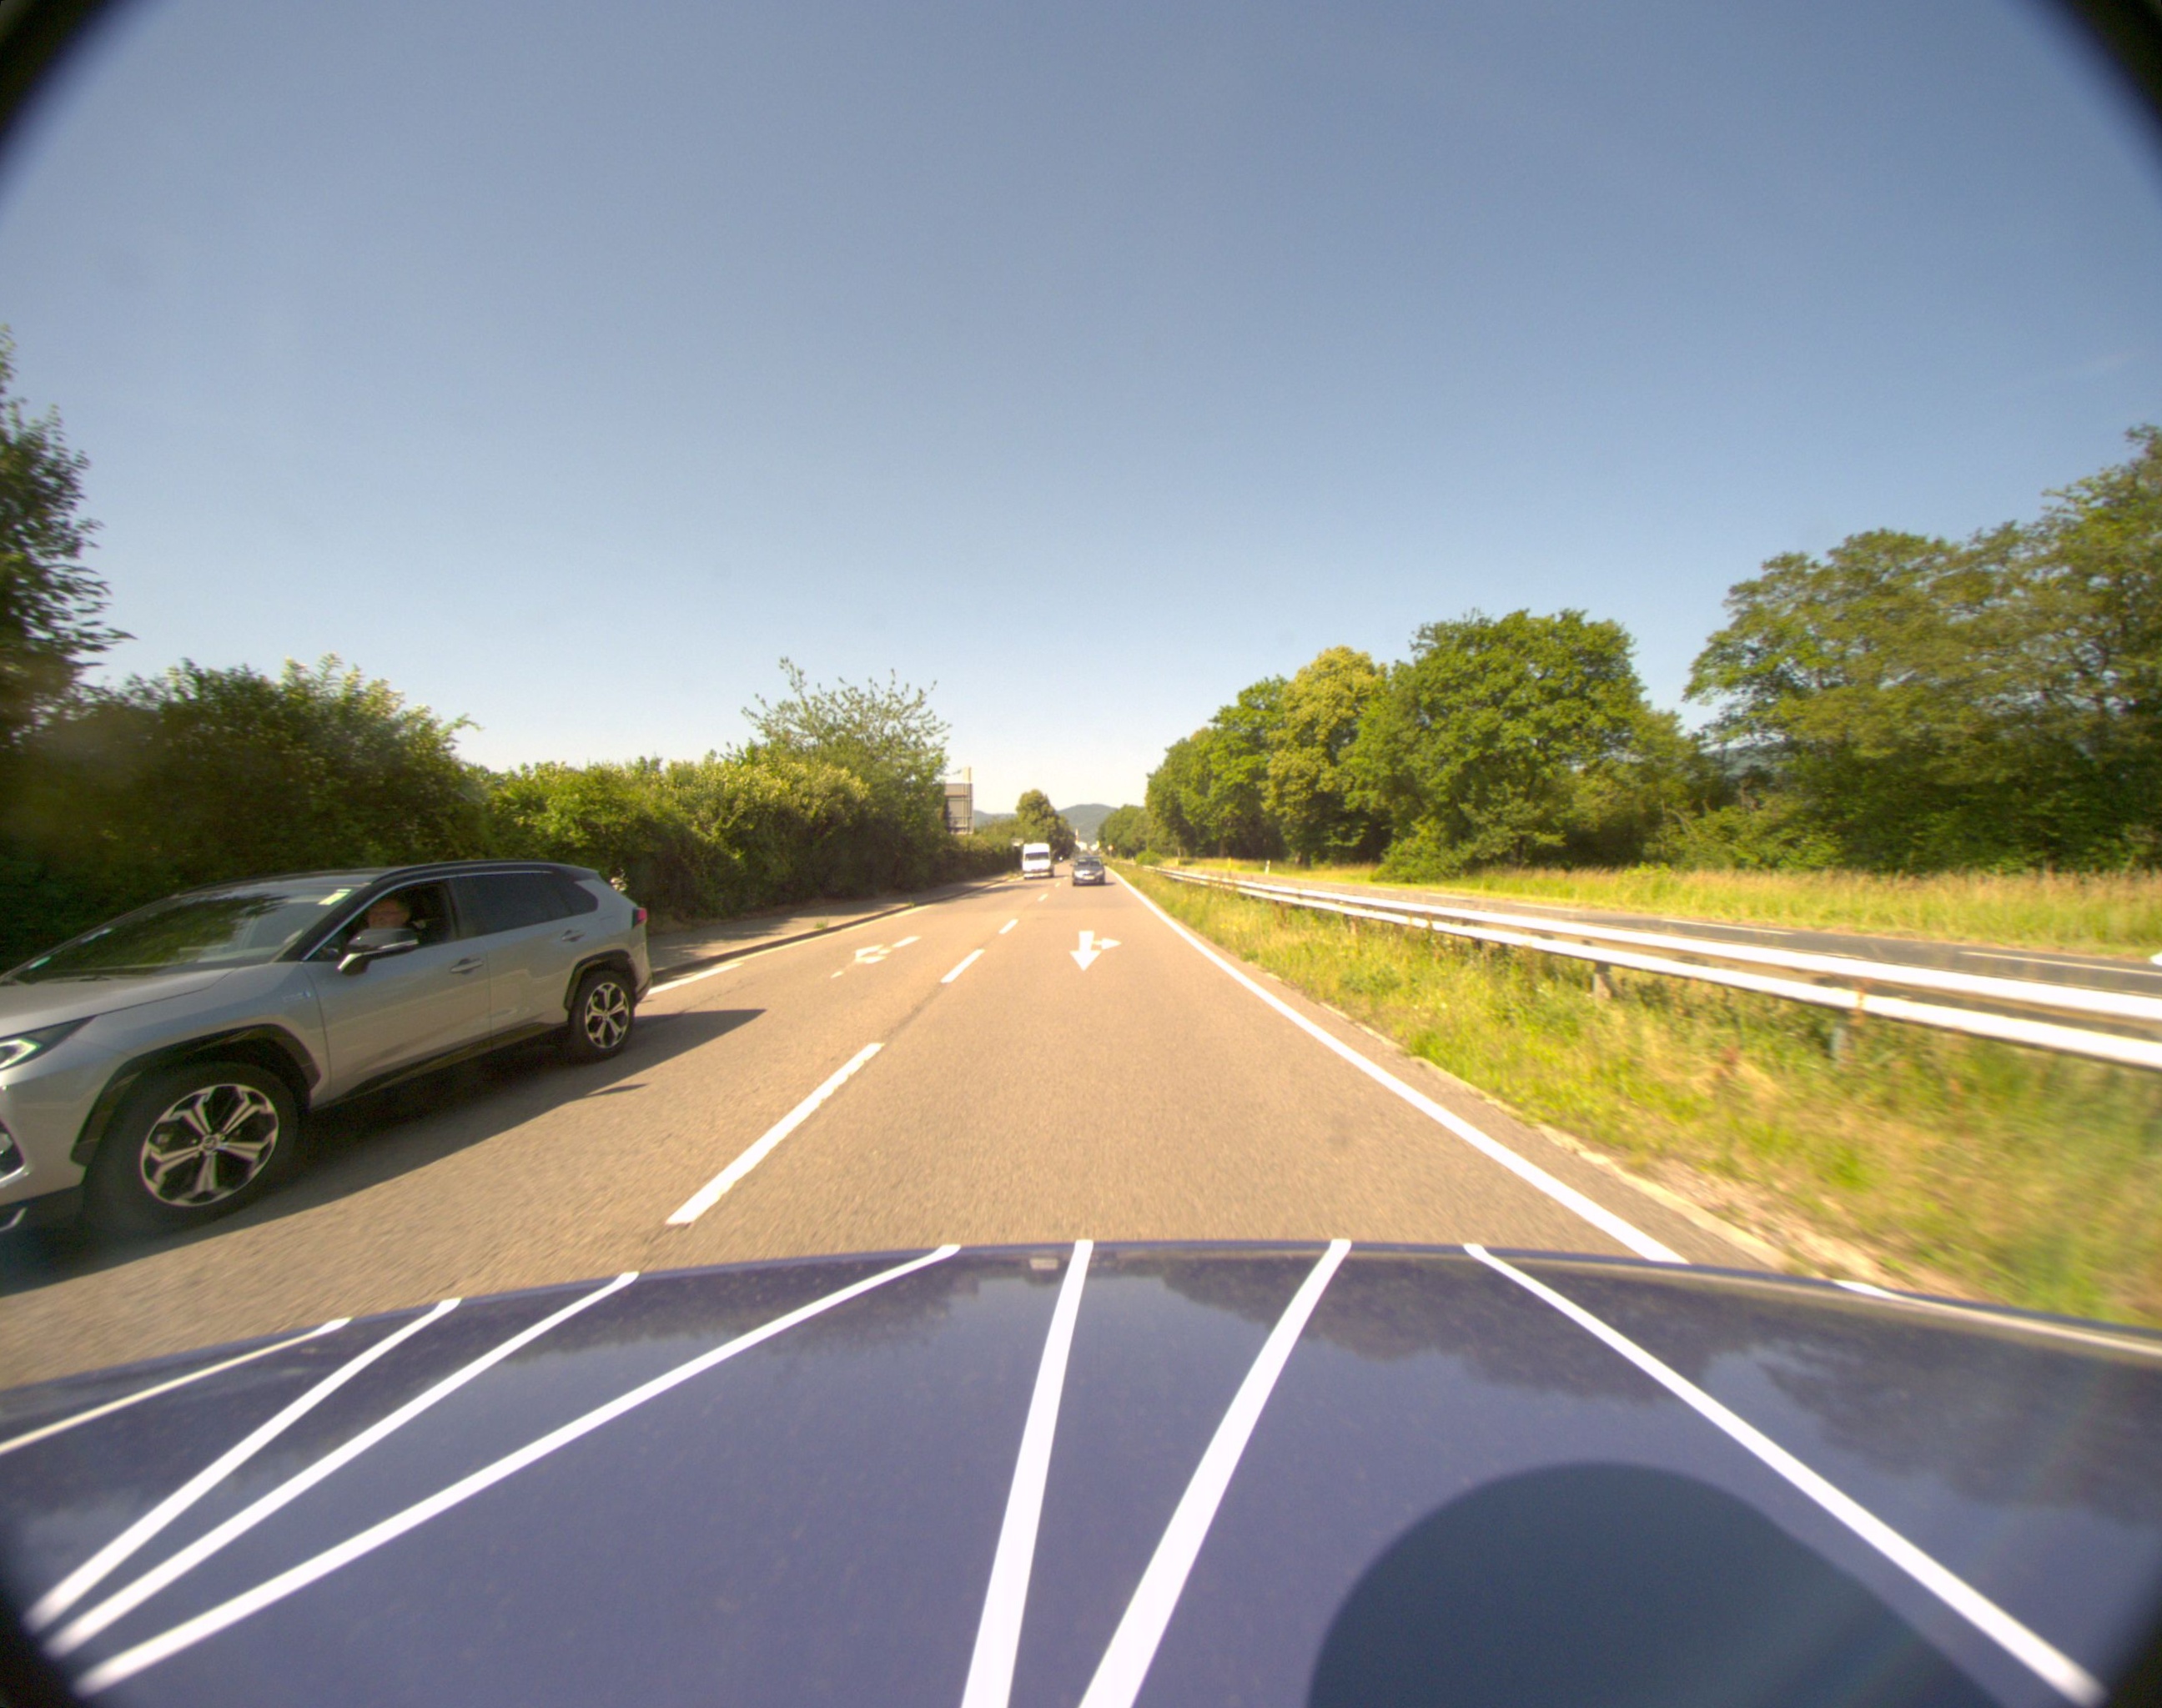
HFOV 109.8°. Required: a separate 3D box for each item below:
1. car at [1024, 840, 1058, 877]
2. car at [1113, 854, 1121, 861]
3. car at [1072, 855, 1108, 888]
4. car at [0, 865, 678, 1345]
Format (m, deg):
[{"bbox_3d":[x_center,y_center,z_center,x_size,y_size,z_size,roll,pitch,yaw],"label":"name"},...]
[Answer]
[{"bbox_3d":[-2.802,0.257,54.443,1.998,2.433,5.088,-3,1,0],"label":"car"},{"bbox_3d":[8.638,0.805,181.512,1.783,1.521,4.161,-1,1,2],"label":"car"},{"bbox_3d":[0.473,0.863,38.823,1.678,1.435,4.360,-3,1,1],"label":"car"},{"bbox_3d":[-4.891,1.020,4.783,1.906,1.670,4.684,-4,1,3],"label":"car"}]
